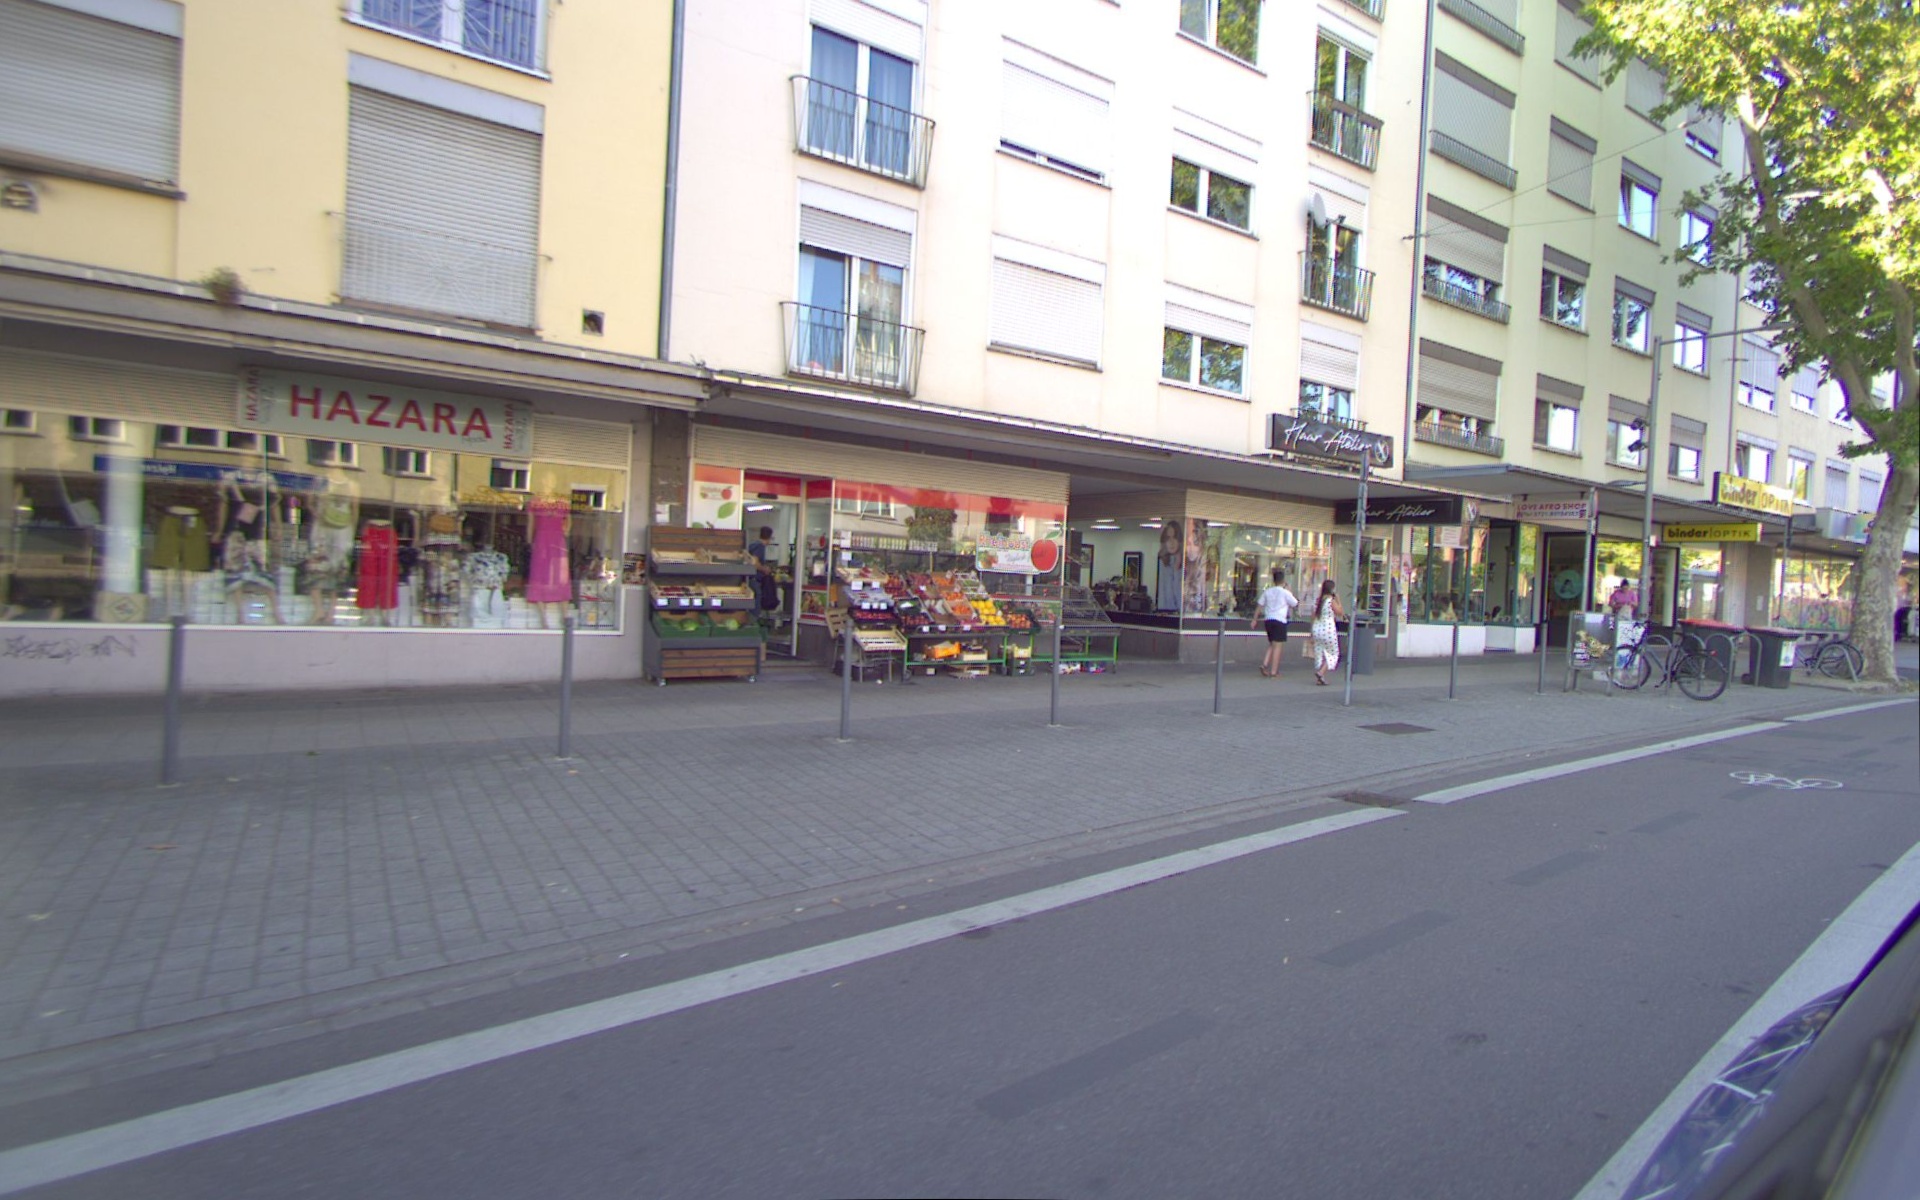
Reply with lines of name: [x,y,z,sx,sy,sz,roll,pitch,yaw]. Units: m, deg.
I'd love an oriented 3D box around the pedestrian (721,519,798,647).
pedestrian: [-2.866,-0.231,14.475,0.864,1.766,0.686,1,-1,-37]

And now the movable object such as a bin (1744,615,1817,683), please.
movable object such as a bin: [14.695,0.862,18.134,0.631,1.115,0.726,1,5,-26]

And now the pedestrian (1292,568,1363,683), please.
pedestrian: [5.348,0.356,14.726,0.615,1.605,0.638,1,3,-34]

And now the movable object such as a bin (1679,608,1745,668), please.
movable object such as a bin: [14.489,0.732,19.519,0.630,1.085,0.726,1,3,-15]

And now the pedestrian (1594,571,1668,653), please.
pedestrian: [15.352,0.250,23.167,1.111,1.784,0.972,0,3,-32]

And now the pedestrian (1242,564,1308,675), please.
pedestrian: [4.747,0.283,15.263,0.615,1.605,0.624,1,3,-34]

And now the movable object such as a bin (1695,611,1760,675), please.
movable object such as a bin: [14.242,0.783,18.785,0.632,1.084,0.725,0,5,-35]

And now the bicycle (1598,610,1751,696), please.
bicycle: [11.312,0.810,16.102,0.507,1.118,1.918,1,4,-27]

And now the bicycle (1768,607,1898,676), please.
bicycle: [16.571,0.752,19.257,0.731,1.131,1.725,-3,4,-32]
